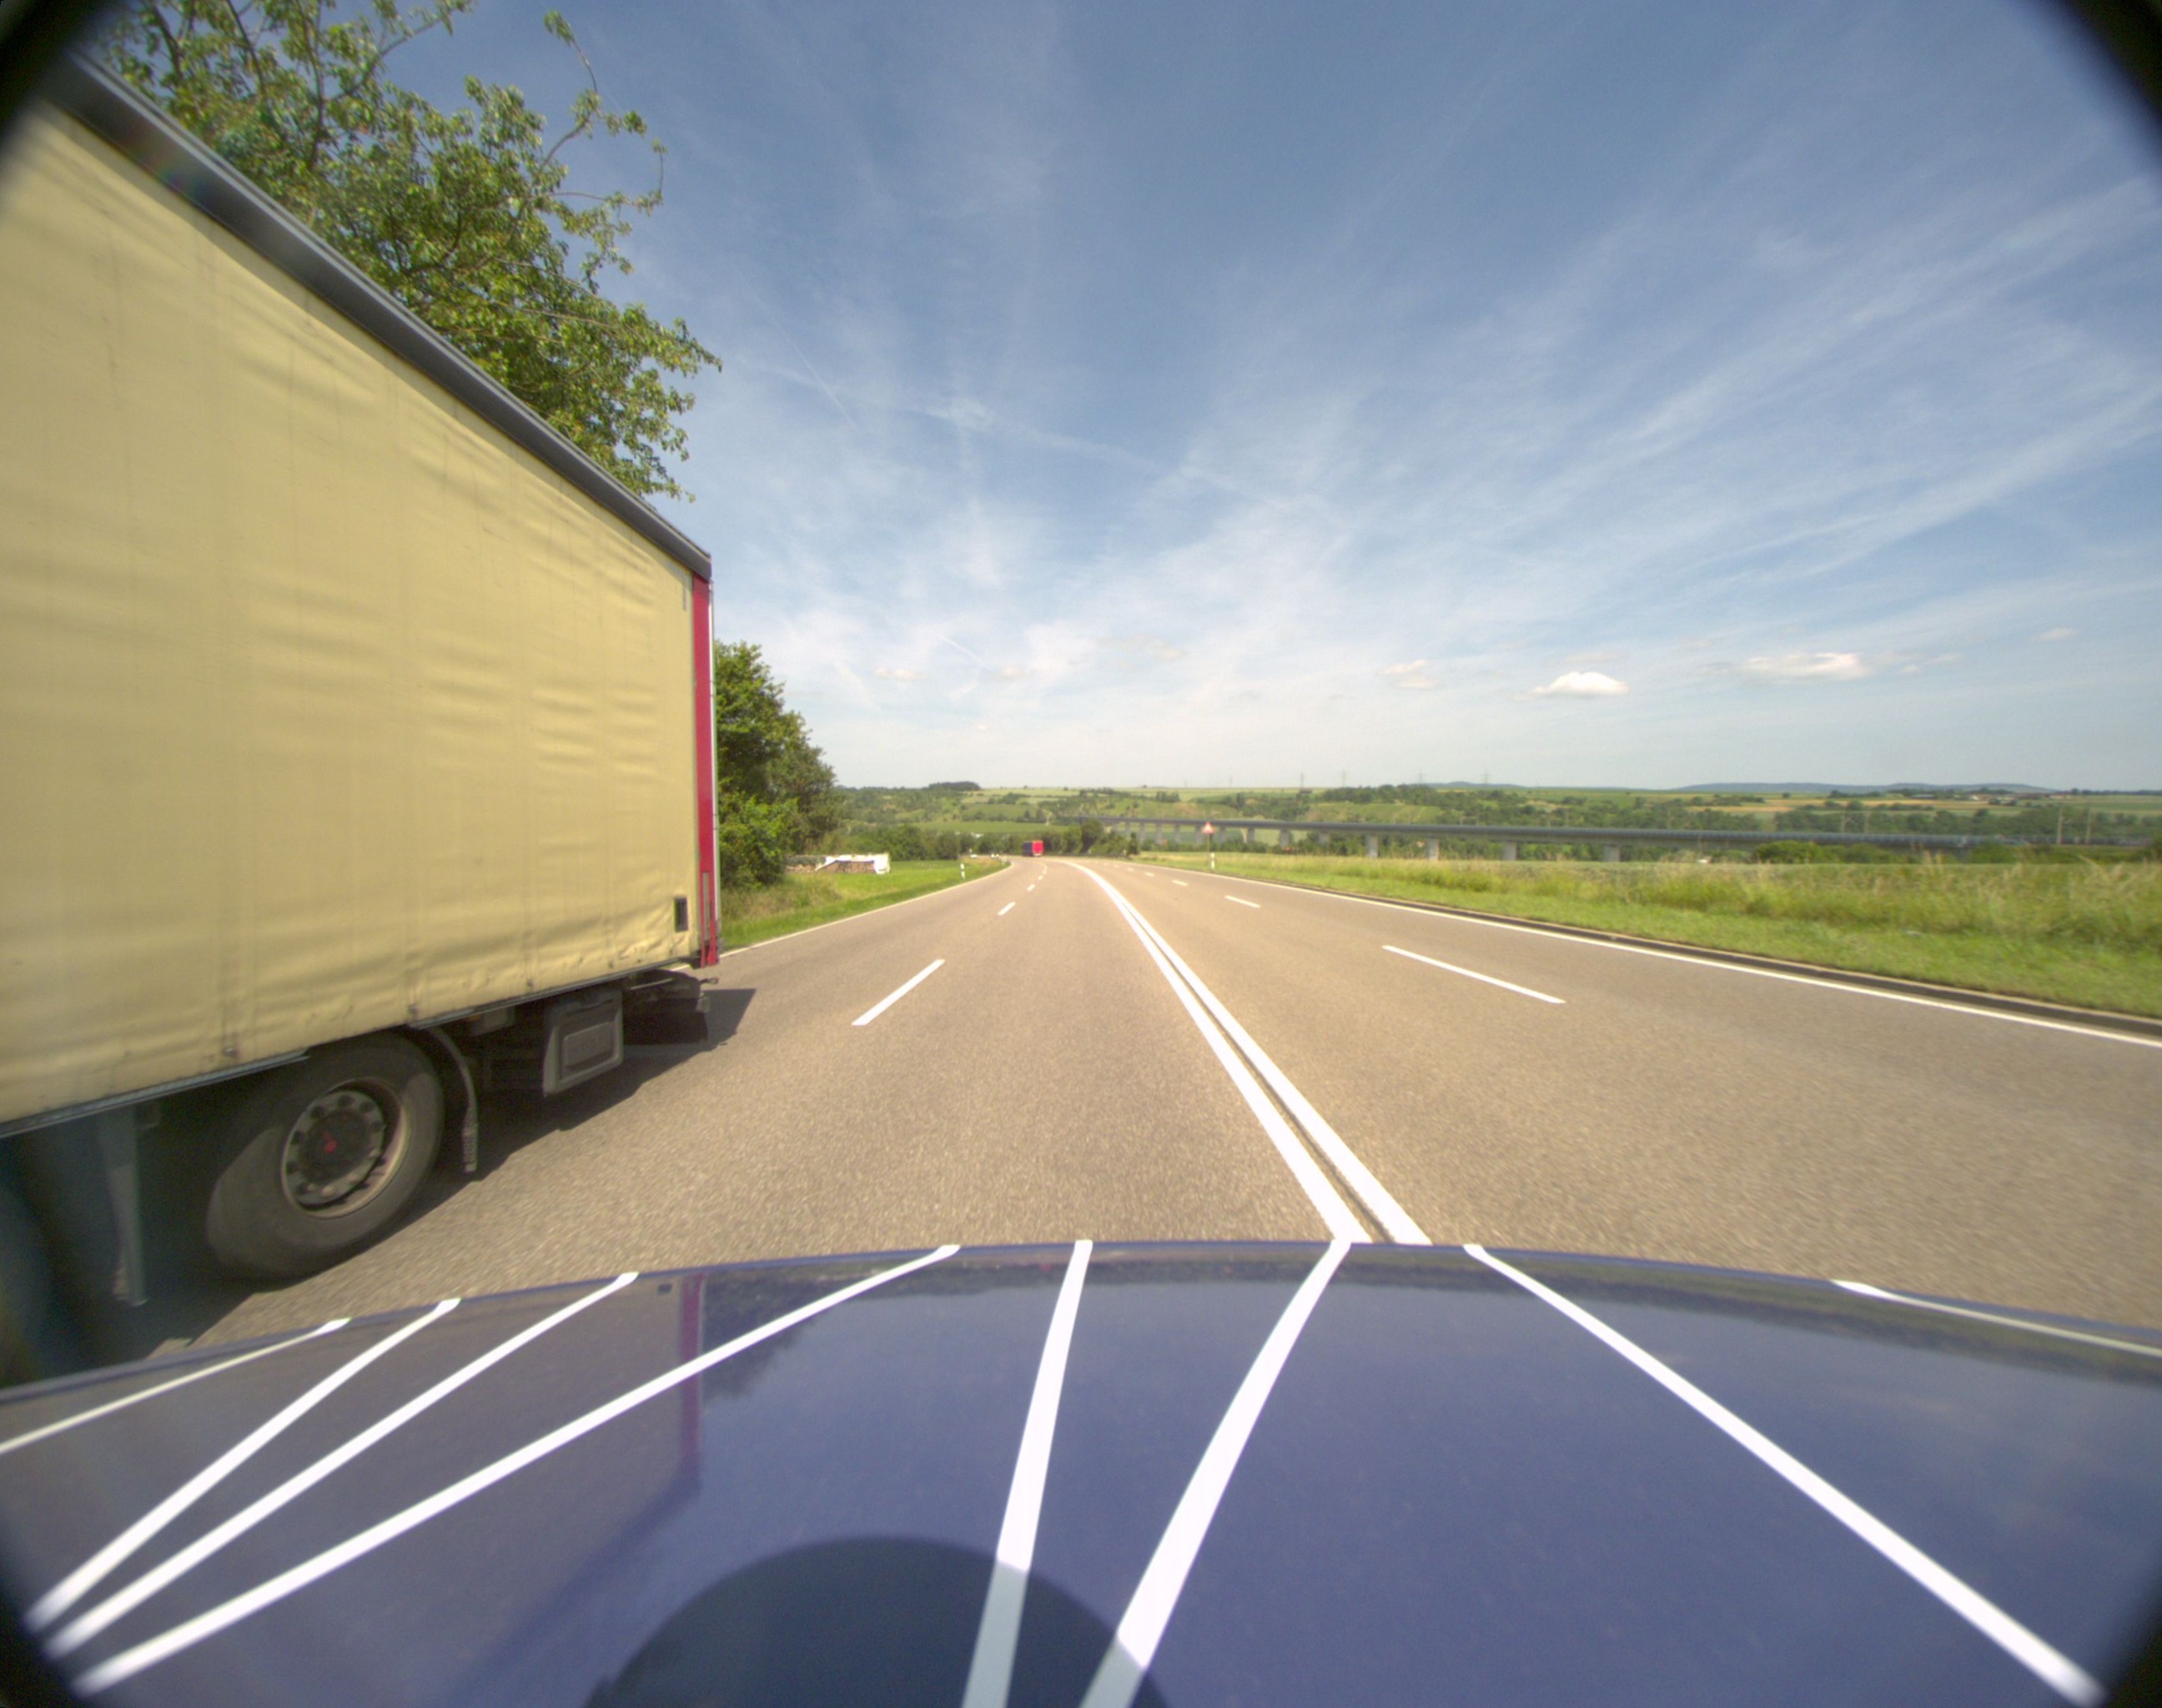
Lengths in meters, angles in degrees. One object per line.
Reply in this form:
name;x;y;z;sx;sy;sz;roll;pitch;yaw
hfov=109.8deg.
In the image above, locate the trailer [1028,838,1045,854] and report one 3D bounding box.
trailer;-11.827;-2.096;199.363;2.554;4.078;13.567;-1;1;-11
